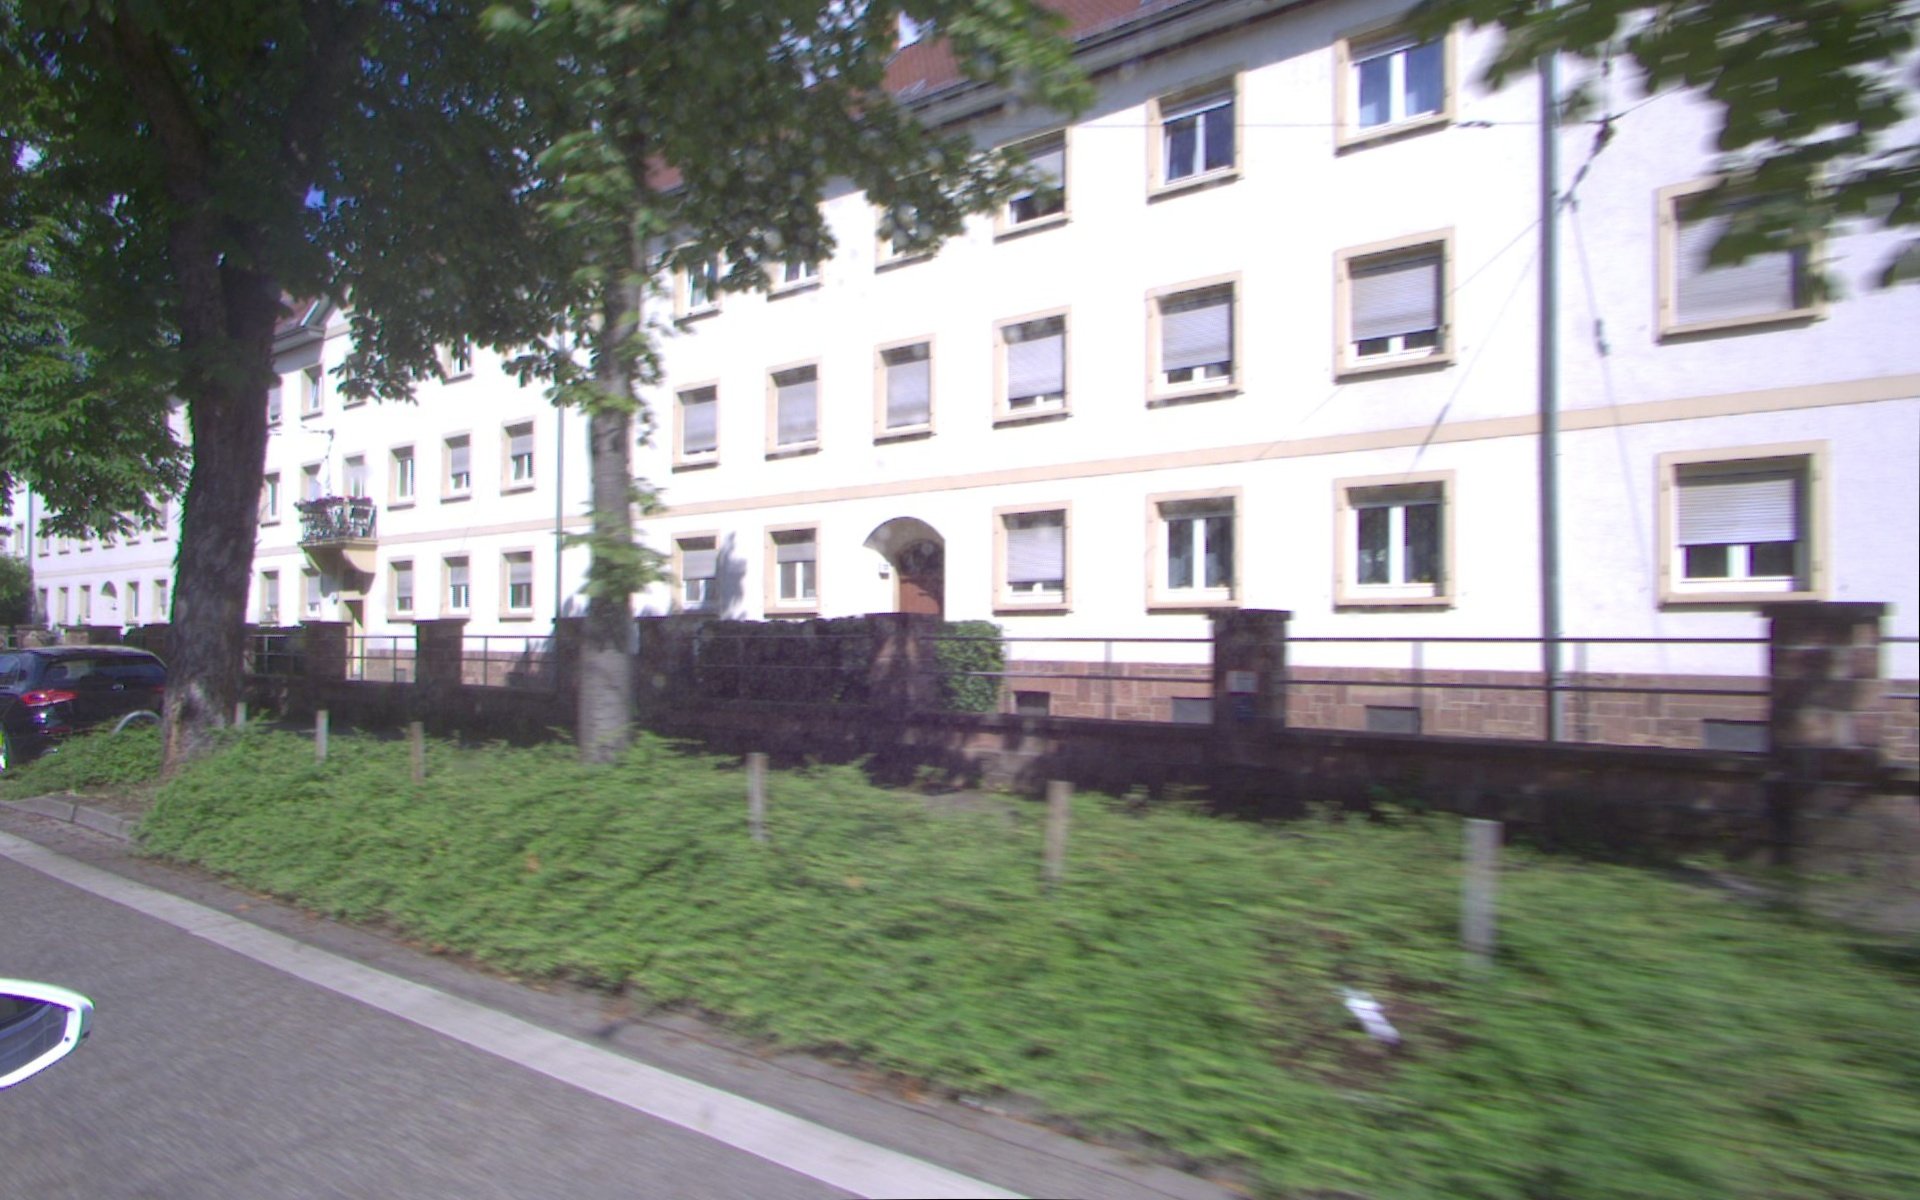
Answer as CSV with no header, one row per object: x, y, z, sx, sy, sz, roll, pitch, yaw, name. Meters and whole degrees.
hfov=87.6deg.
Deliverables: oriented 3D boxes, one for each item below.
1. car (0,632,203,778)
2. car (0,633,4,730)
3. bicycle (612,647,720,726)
-11.285,1.180,12.435,4.228,1.540,1.658,-1,-3,33,car
-18.012,1.344,16.937,4.189,1.600,1.739,-1,-3,33,car
-4.571,1.308,15.516,1.776,1.149,0.623,-1,-2,34,bicycle
